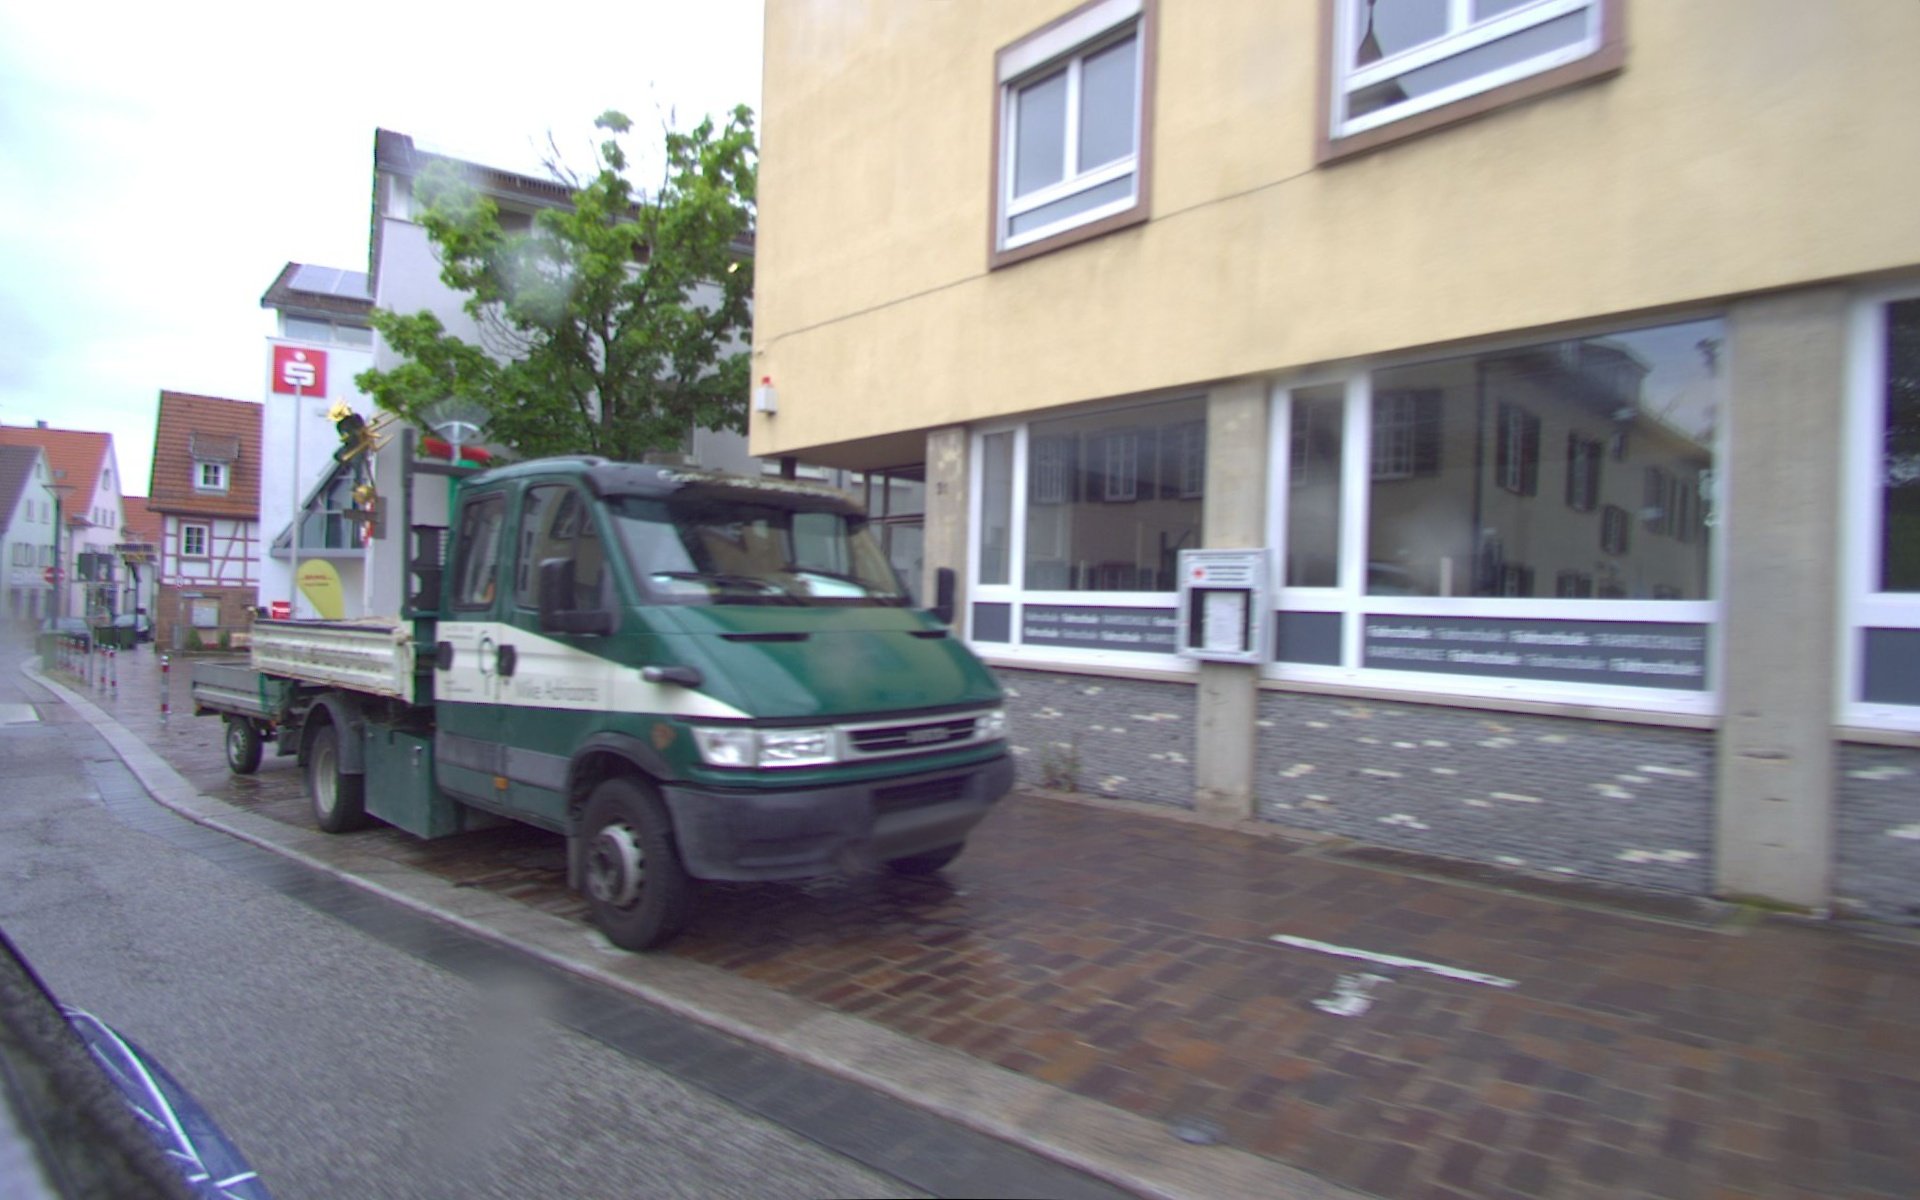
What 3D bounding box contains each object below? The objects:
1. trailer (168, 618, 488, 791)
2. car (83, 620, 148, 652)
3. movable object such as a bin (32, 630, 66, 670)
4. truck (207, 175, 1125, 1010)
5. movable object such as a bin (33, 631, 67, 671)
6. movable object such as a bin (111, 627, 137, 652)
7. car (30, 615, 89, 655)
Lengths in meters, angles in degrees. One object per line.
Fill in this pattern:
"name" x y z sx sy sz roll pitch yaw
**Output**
"trailer" -6.085 0.892 9.658 3.158 1.357 1.710 -2 -4 41
"car" -43.098 1.805 51.731 1.966 1.541 4.012 -1 0 -31
"movable object such as a bin" -26.215 1.441 29.124 0.650 1.123 0.553 3 -2 -40
"truck" -2.415 0.077 6.506 6.595 2.816 2.448 -2 -4 41
"movable object such as a bin" -25.574 1.435 28.445 0.650 1.104 0.614 3 -3 -42
"movable object such as a bin" -37.611 1.777 45.547 0.822 1.120 0.921 3 -2 -38
"car" -36.538 1.388 41.033 1.669 1.497 4.004 2 -2 -43
